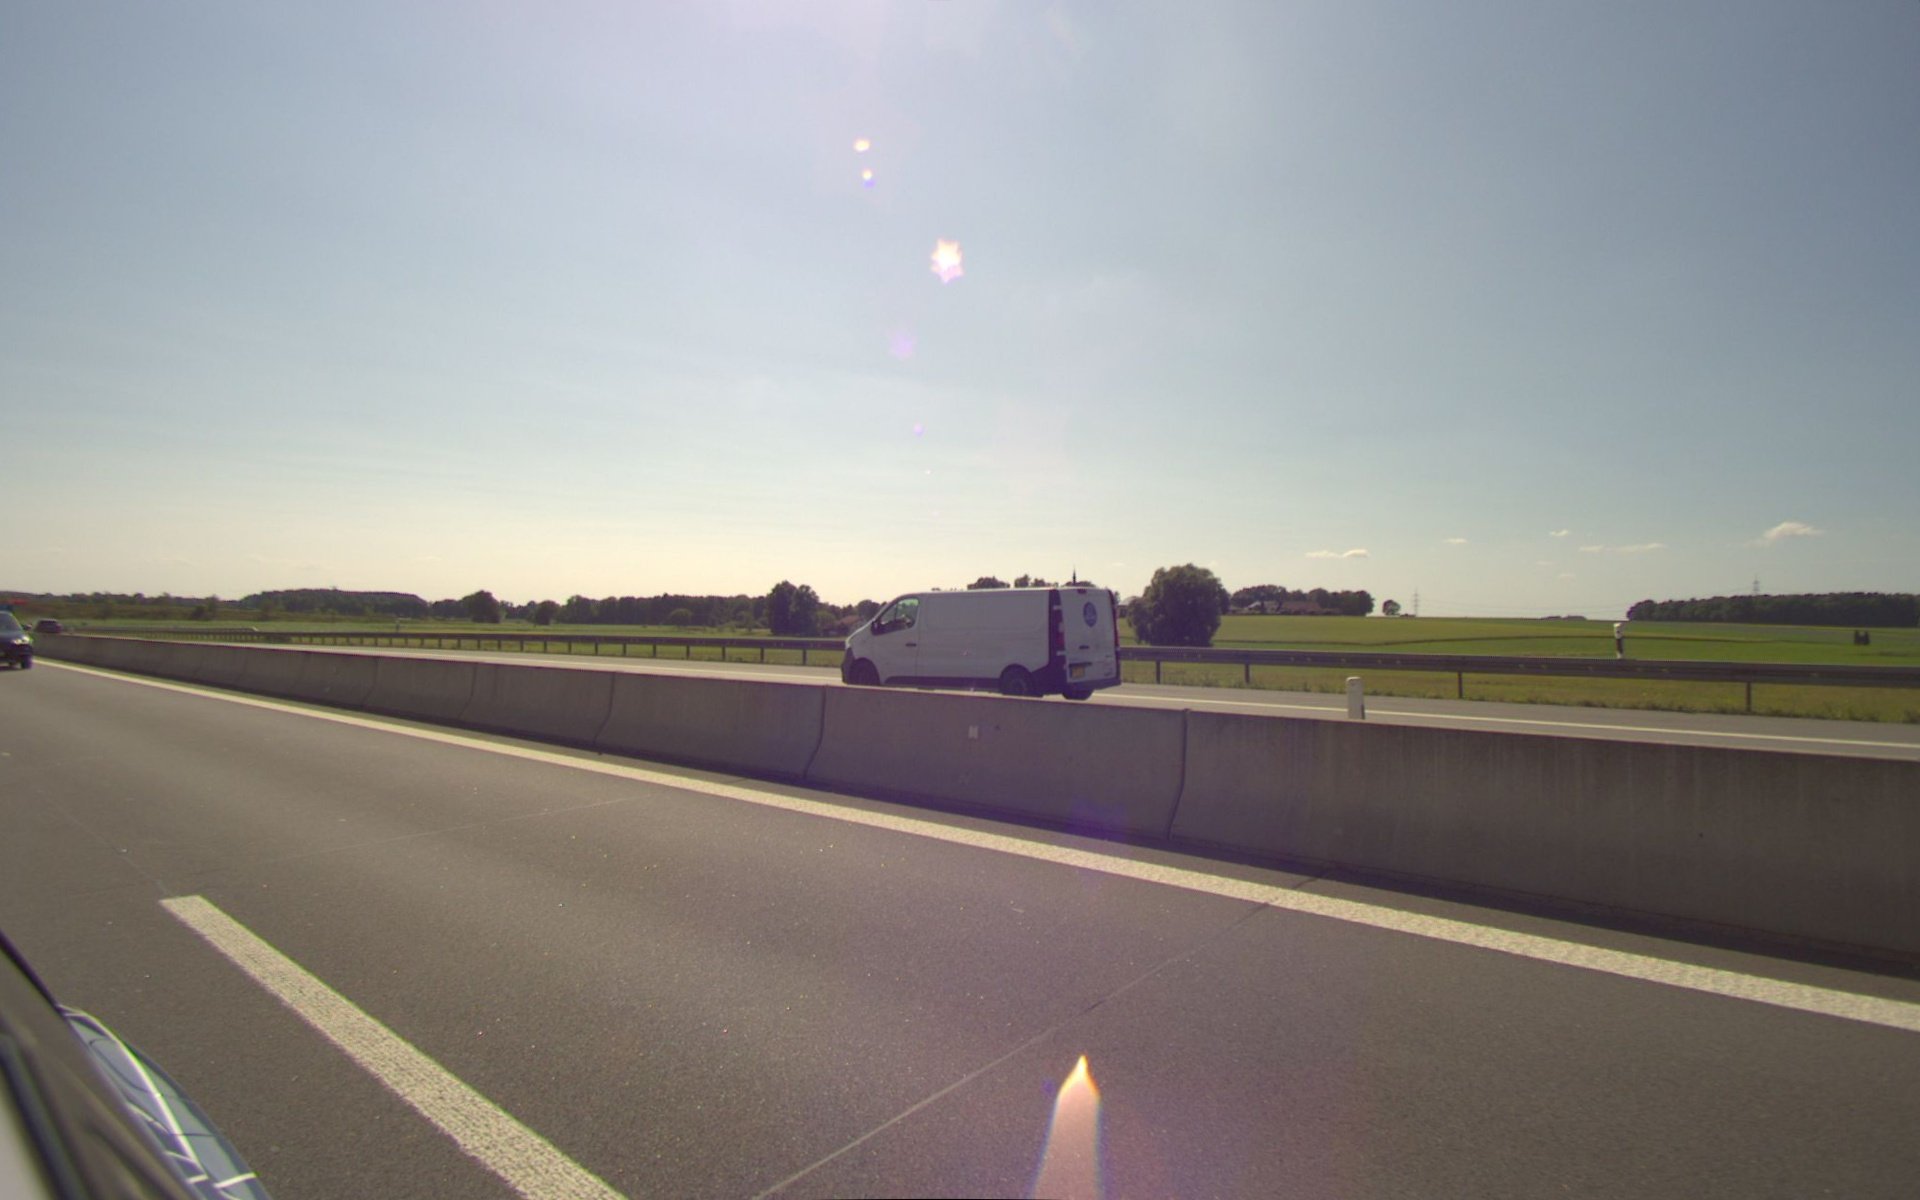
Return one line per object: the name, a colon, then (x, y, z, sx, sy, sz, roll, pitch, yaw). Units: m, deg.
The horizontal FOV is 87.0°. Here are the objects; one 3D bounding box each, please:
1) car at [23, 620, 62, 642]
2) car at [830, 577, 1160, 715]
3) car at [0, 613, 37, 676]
car: (-76.660, 2.572, 84.534, 5.004, 1.698, 1.887, -2, 0, 41)
car: (0.426, 0.661, 17.516, 5.711, 2.029, 1.973, 0, 1, 40)
car: (-27.210, 1.204, 27.973, 4.816, 1.622, 2.004, -1, 0, 41)
